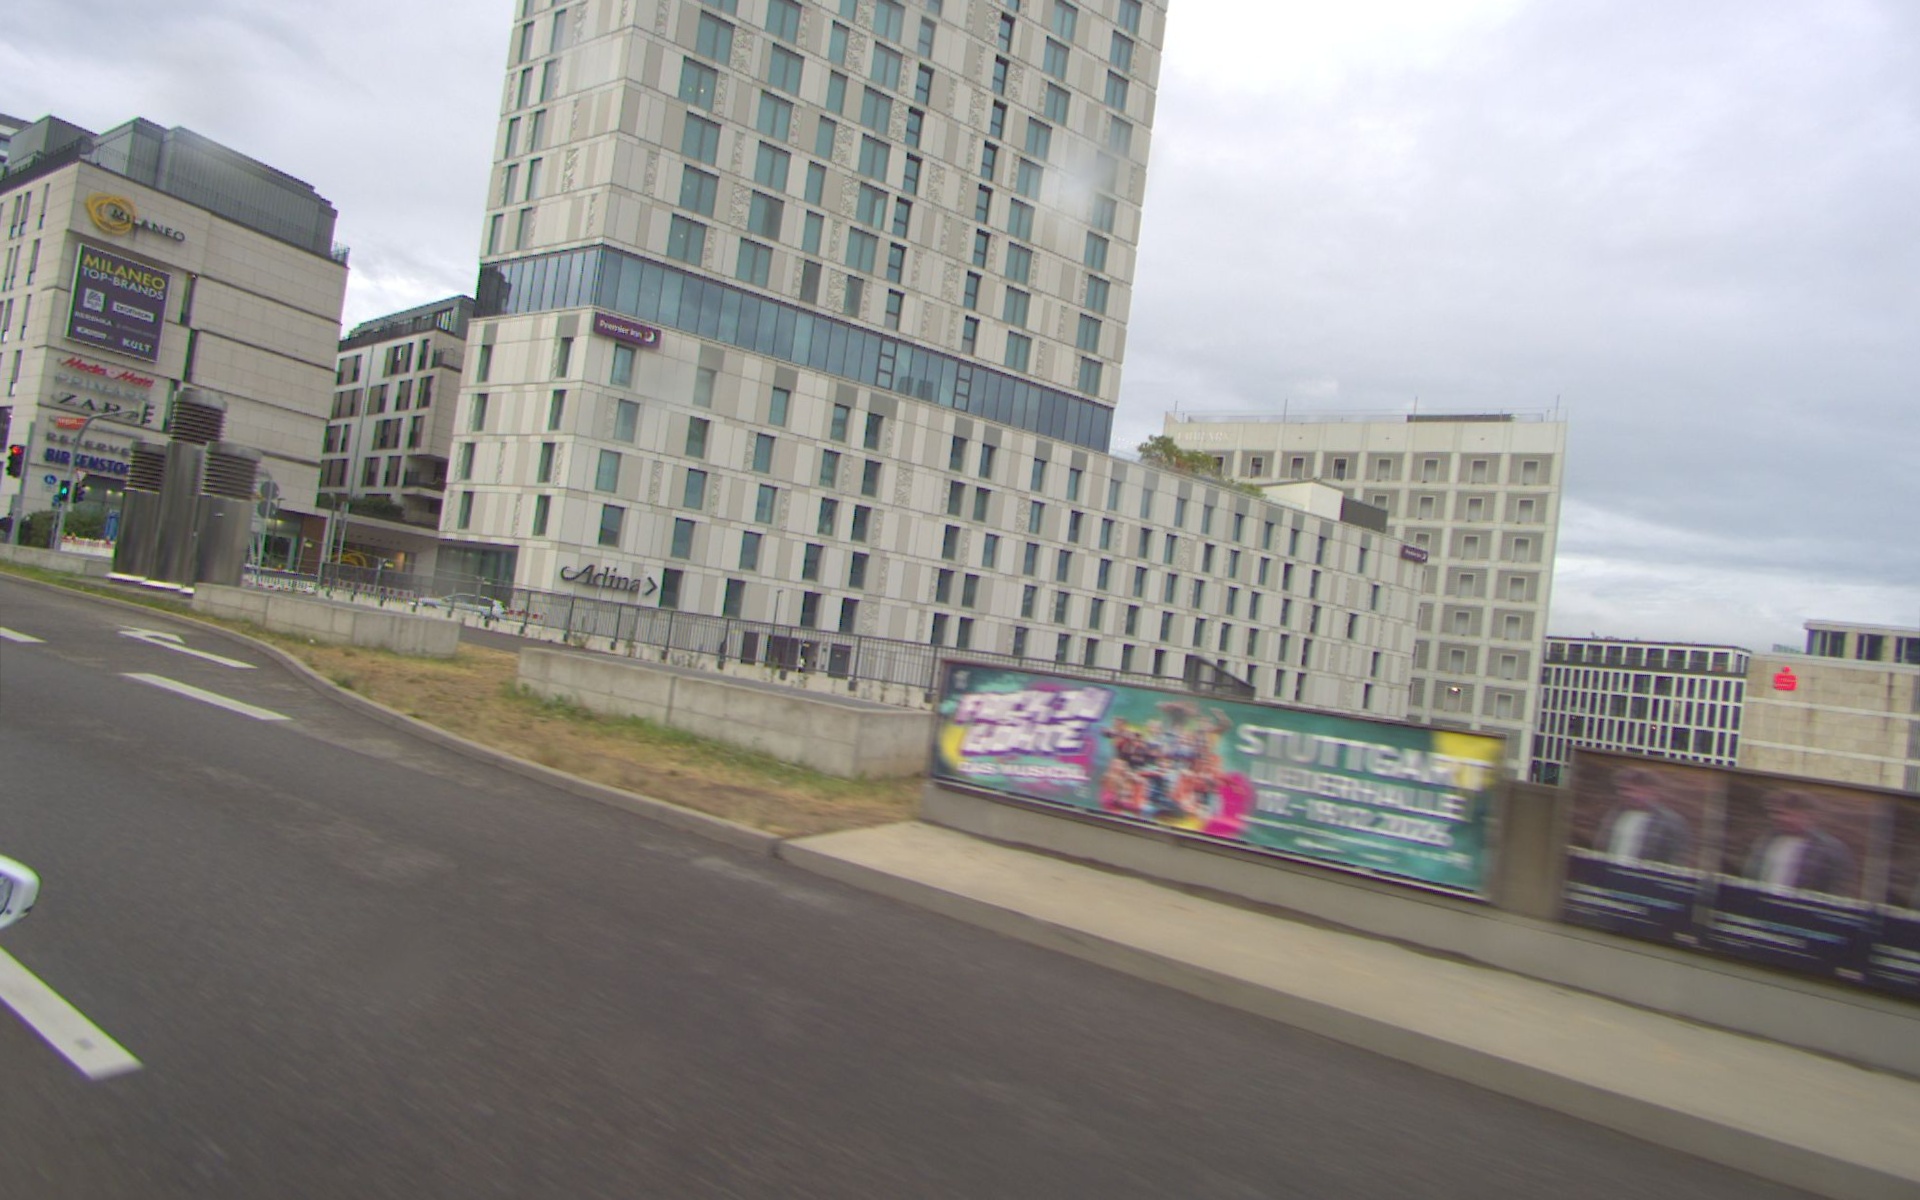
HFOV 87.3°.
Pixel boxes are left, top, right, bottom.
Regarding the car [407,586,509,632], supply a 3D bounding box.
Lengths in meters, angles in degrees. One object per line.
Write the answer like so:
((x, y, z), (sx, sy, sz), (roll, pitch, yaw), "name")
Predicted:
((-23.122, 0.412, 46.363), (3.961, 1.448, 1.731), (11, -4, -30), "car")

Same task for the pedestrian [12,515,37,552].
((-47.116, -3.346, 50.667), (0.584, 1.801, 0.441), (6, -1, 4), "pedestrian")

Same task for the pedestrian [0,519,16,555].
((-46.732, -3.089, 49.076), (0.810, 1.691, 0.622), (5, -2, 32), "pedestrian")

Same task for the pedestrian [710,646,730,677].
((-13.867, 3.553, 58.103), (0.785, 1.721, 0.800), (6, -1, -1), "pedestrian")

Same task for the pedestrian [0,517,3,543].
((-51.744, -3.649, 53.797), (0.590, 1.661, 0.583), (7, -2, -33), "pedestrian")
